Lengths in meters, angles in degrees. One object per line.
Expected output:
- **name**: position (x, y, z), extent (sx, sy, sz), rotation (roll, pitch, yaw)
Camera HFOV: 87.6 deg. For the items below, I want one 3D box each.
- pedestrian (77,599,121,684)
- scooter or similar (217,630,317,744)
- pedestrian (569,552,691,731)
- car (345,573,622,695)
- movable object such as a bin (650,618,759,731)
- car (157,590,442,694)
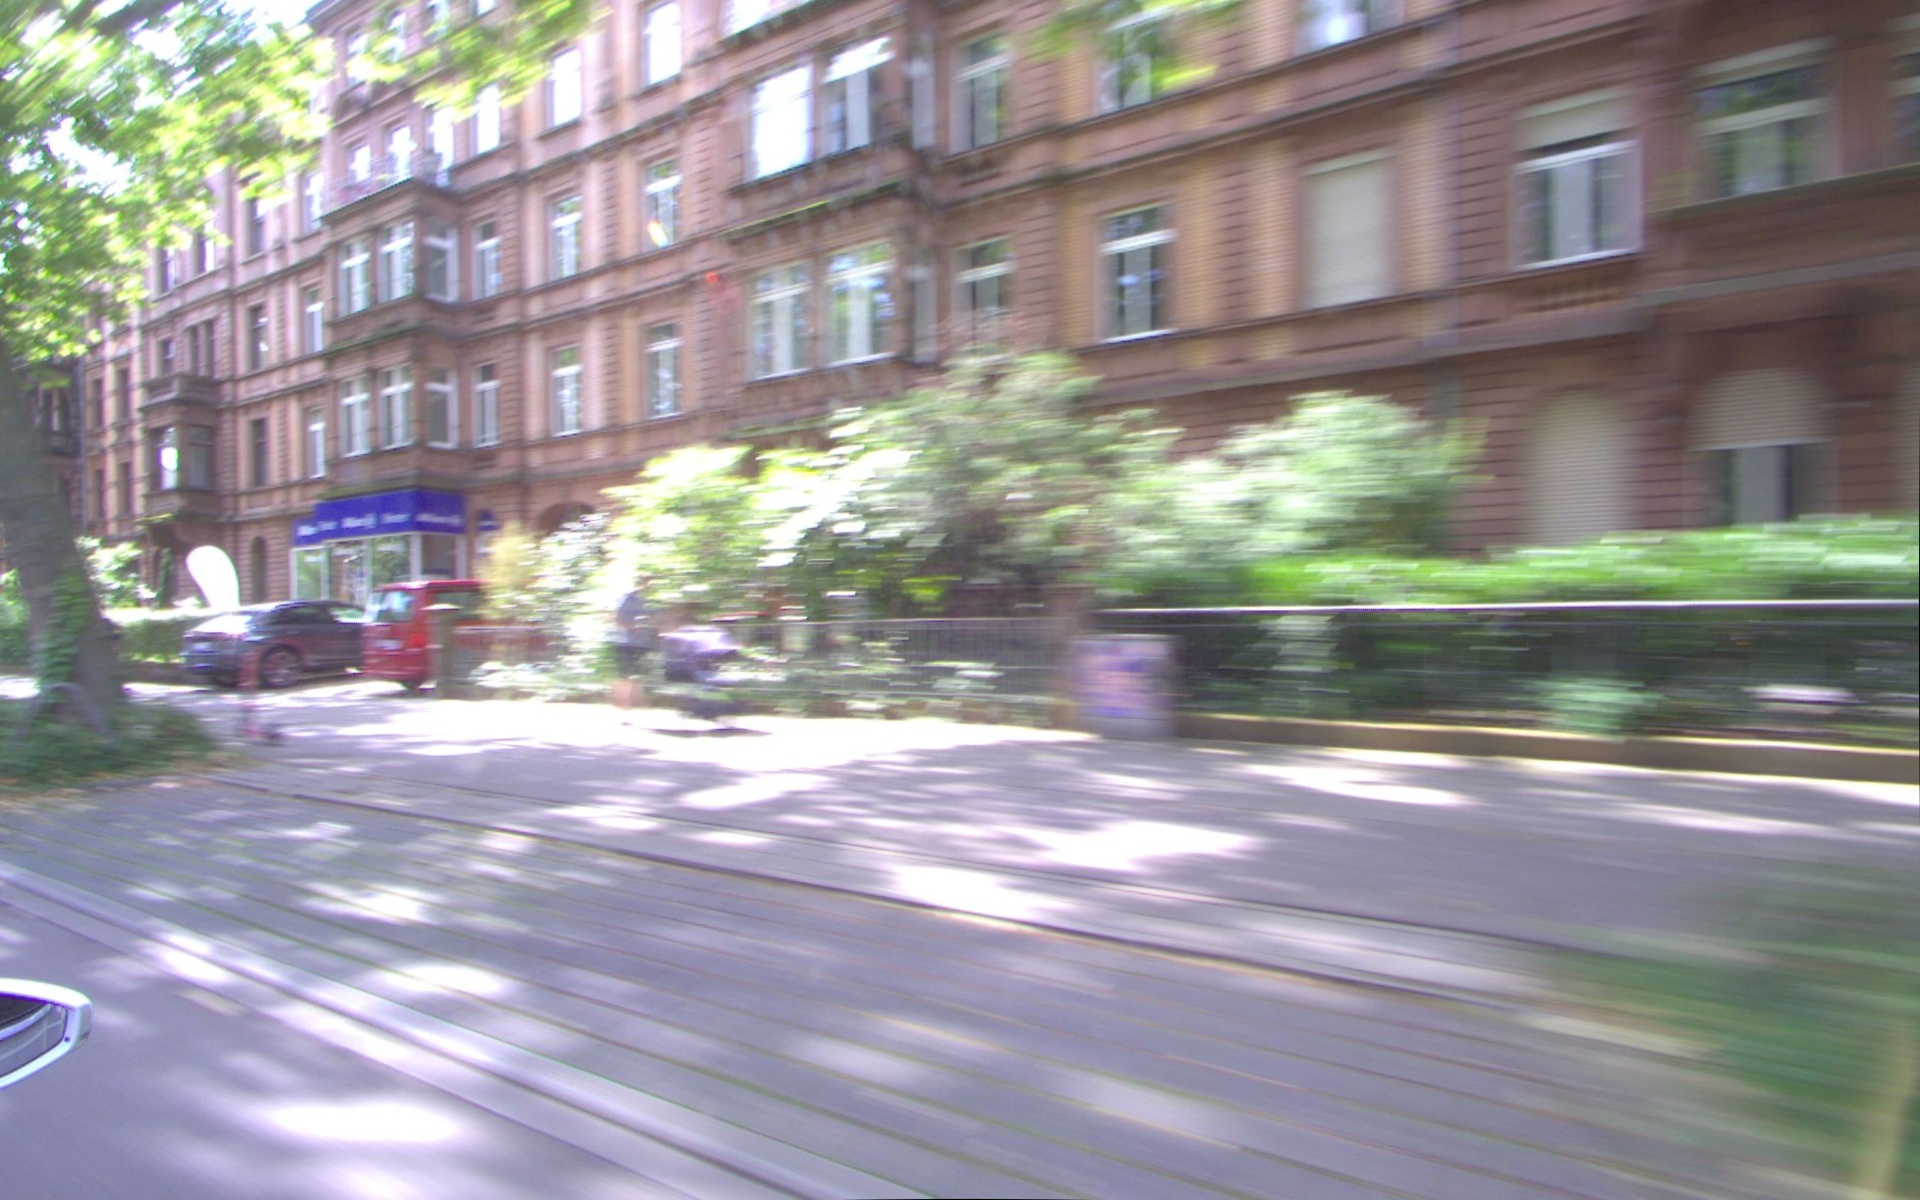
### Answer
- **pedestrian**: position (-18.583, 0.889, 21.615), extent (0.621, 1.809, 0.563), rotation (-1, 0, 32)
- **scooter or similar**: position (-7.953, 0.968, 11.485), extent (1.304, 1.227, 0.466), rotation (-1, 0, 32)
- **pedestrian**: position (-3.943, 0.472, 11.994), extent (1.102, 2.041, 0.763), rotation (-1, 3, 28)
- **car**: position (-8.970, 0.535, 19.244), extent (1.955, 1.966, 4.384), rotation (-1, 2, 32)
- **movable object such as a bin**: position (-2.951, 0.842, 11.582), extent (1.042, 1.226, 0.606), rotation (-1, 2, 27)
- **car**: position (-13.899, 0.799, 21.462), extent (1.973, 1.807, 4.718), rotation (-1, 2, 24)
